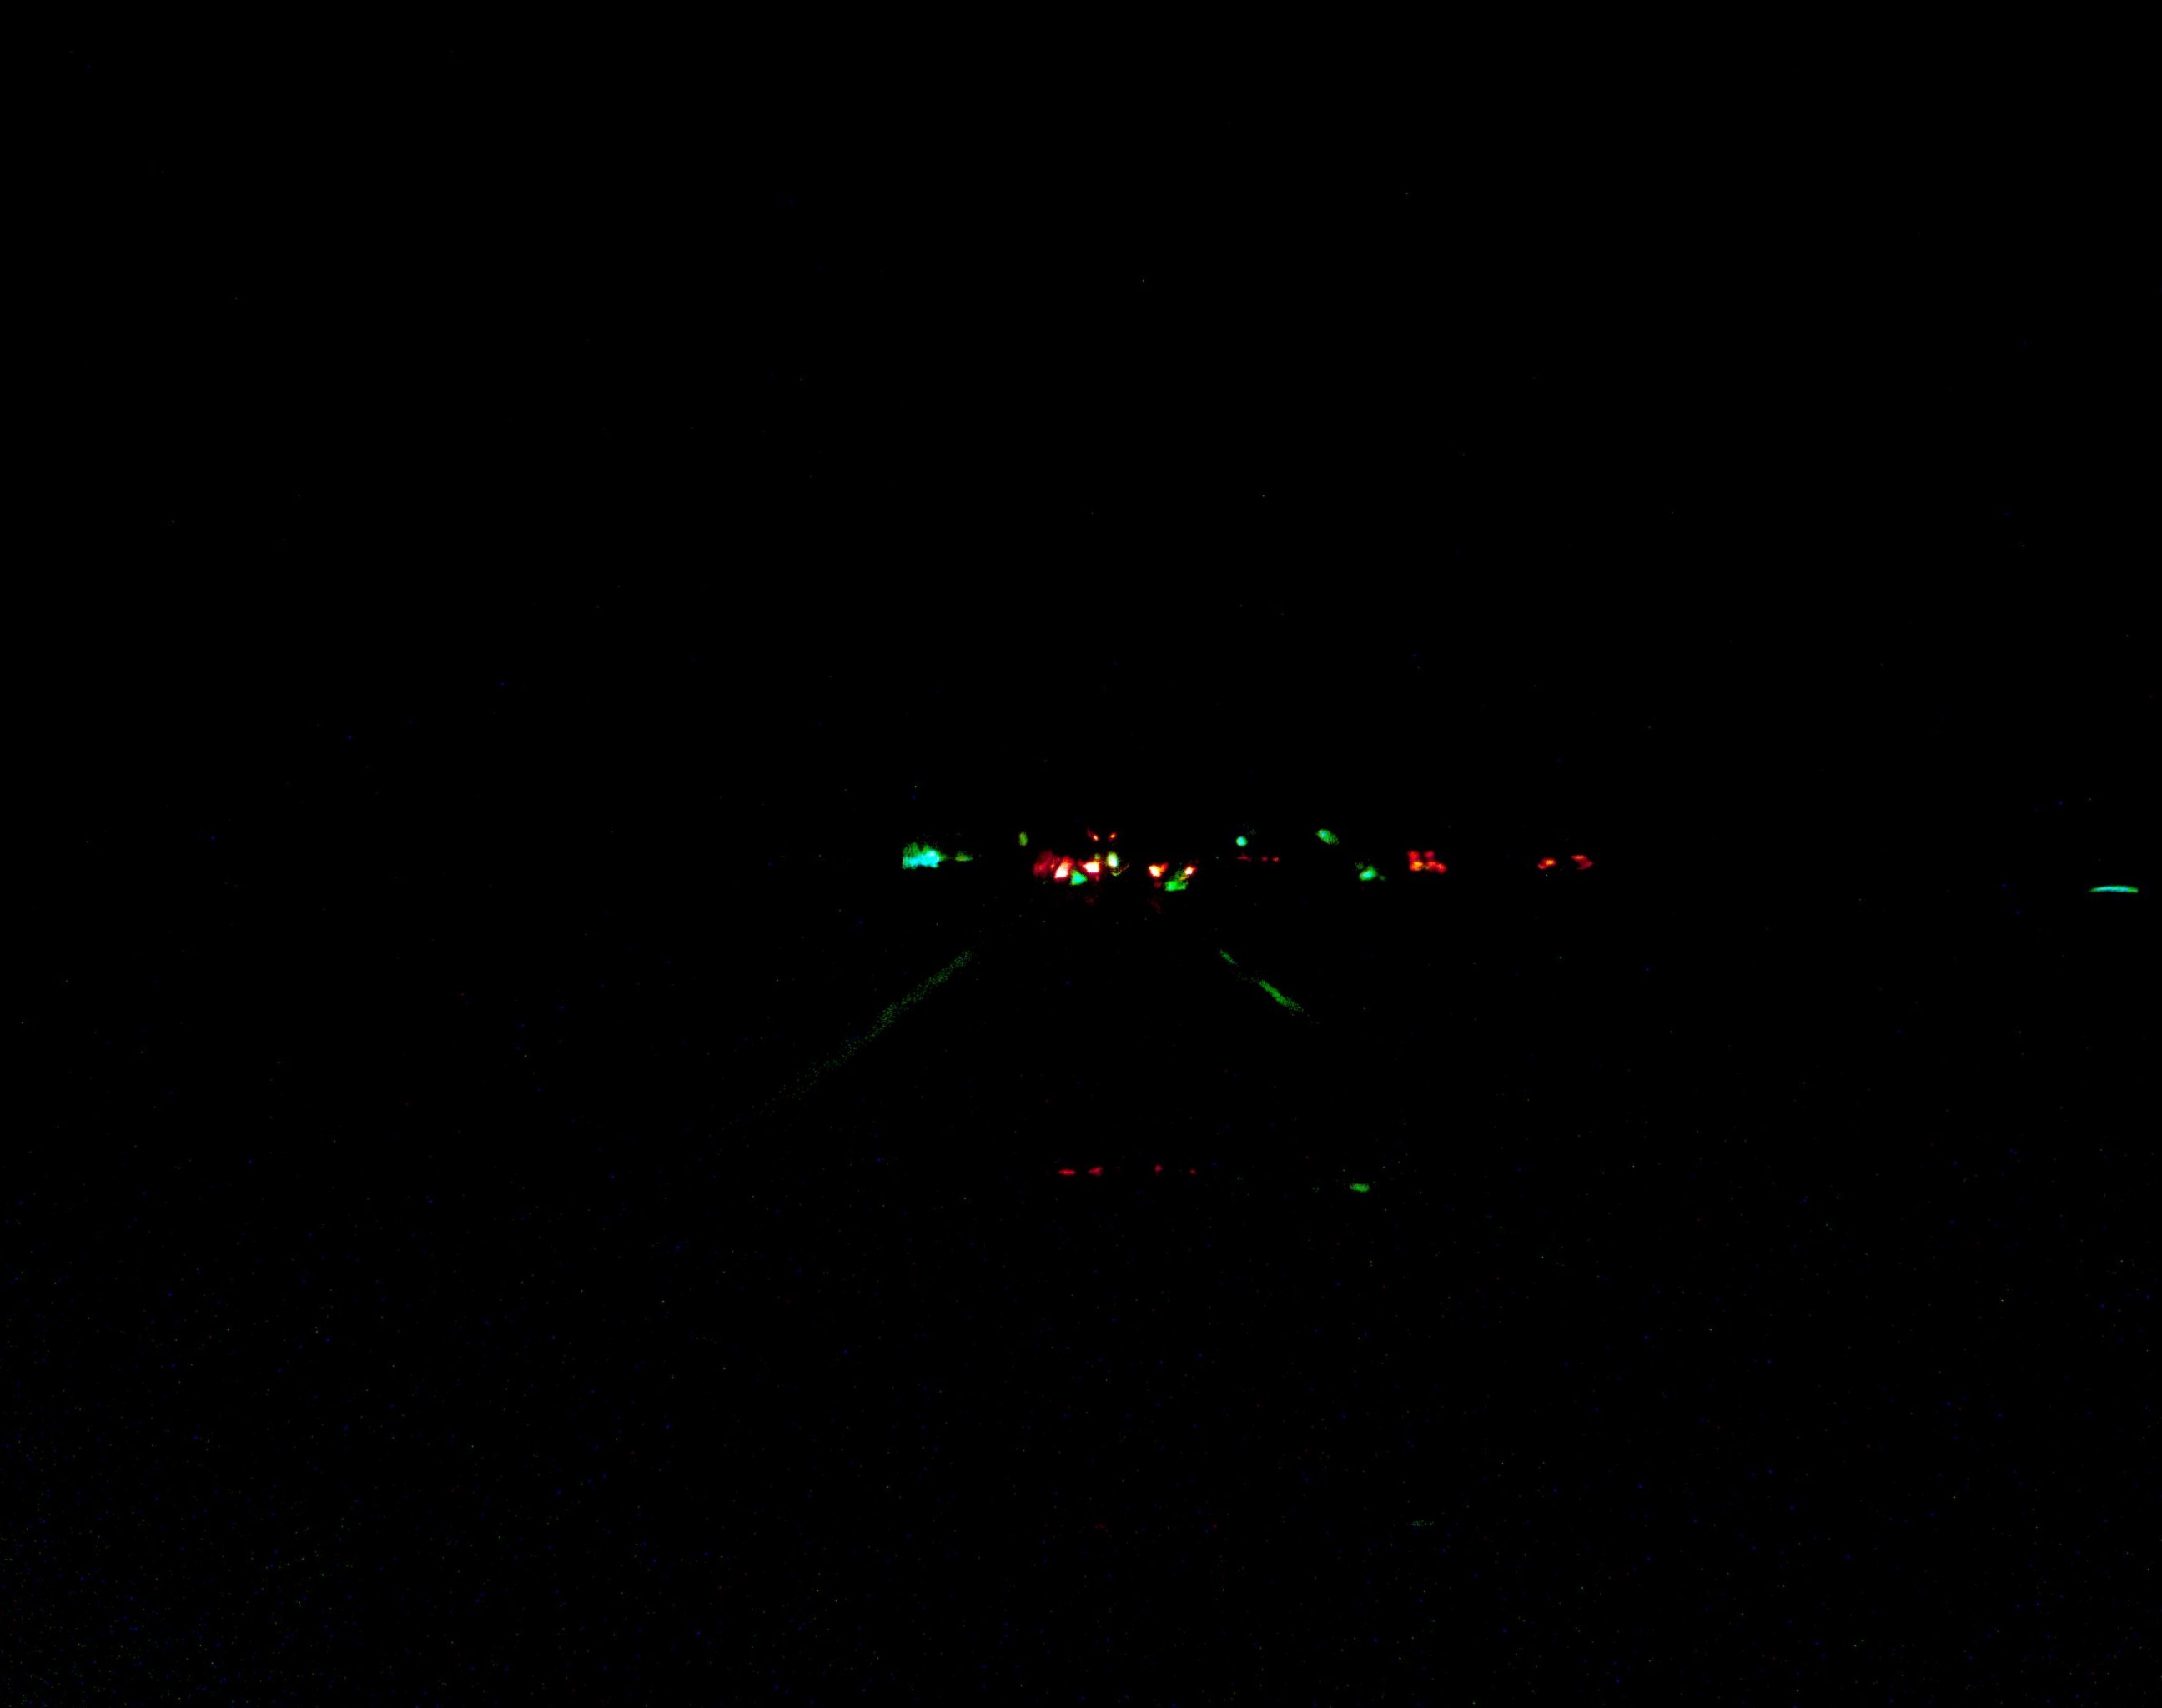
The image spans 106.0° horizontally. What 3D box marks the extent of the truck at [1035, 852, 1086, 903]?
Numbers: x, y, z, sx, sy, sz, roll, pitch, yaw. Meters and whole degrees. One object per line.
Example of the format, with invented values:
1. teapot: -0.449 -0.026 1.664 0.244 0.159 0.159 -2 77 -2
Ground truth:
1. truck: -0.930 1.017 38.342 2.139 2.077 6.601 2 0 -1

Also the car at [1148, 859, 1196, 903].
1. car: 3.755 1.067 34.145 1.792 1.617 4.261 -2 0 4

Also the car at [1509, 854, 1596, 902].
1. car: 21.545 1.049 37.428 2.219 2.013 4.012 0 1 10

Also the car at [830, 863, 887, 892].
1. car: -12.603 1.289 46.392 2.118 1.526 3.999 0 0 -1

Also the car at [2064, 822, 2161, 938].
1. car: 19.567 0.466 12.899 2.050 2.013 5.464 0 1 10

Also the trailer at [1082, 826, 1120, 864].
1. trailer: 2.537 -1.337 111.159 2.738 4.246 13.338 -5 4 -8

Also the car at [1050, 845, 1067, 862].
1. car: -2.962 -0.069 107.969 1.991 2.013 3.993 0 2 -6

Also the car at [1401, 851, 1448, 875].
1. car: 24.787 0.616 58.928 1.984 1.600 4.005 2 0 4
